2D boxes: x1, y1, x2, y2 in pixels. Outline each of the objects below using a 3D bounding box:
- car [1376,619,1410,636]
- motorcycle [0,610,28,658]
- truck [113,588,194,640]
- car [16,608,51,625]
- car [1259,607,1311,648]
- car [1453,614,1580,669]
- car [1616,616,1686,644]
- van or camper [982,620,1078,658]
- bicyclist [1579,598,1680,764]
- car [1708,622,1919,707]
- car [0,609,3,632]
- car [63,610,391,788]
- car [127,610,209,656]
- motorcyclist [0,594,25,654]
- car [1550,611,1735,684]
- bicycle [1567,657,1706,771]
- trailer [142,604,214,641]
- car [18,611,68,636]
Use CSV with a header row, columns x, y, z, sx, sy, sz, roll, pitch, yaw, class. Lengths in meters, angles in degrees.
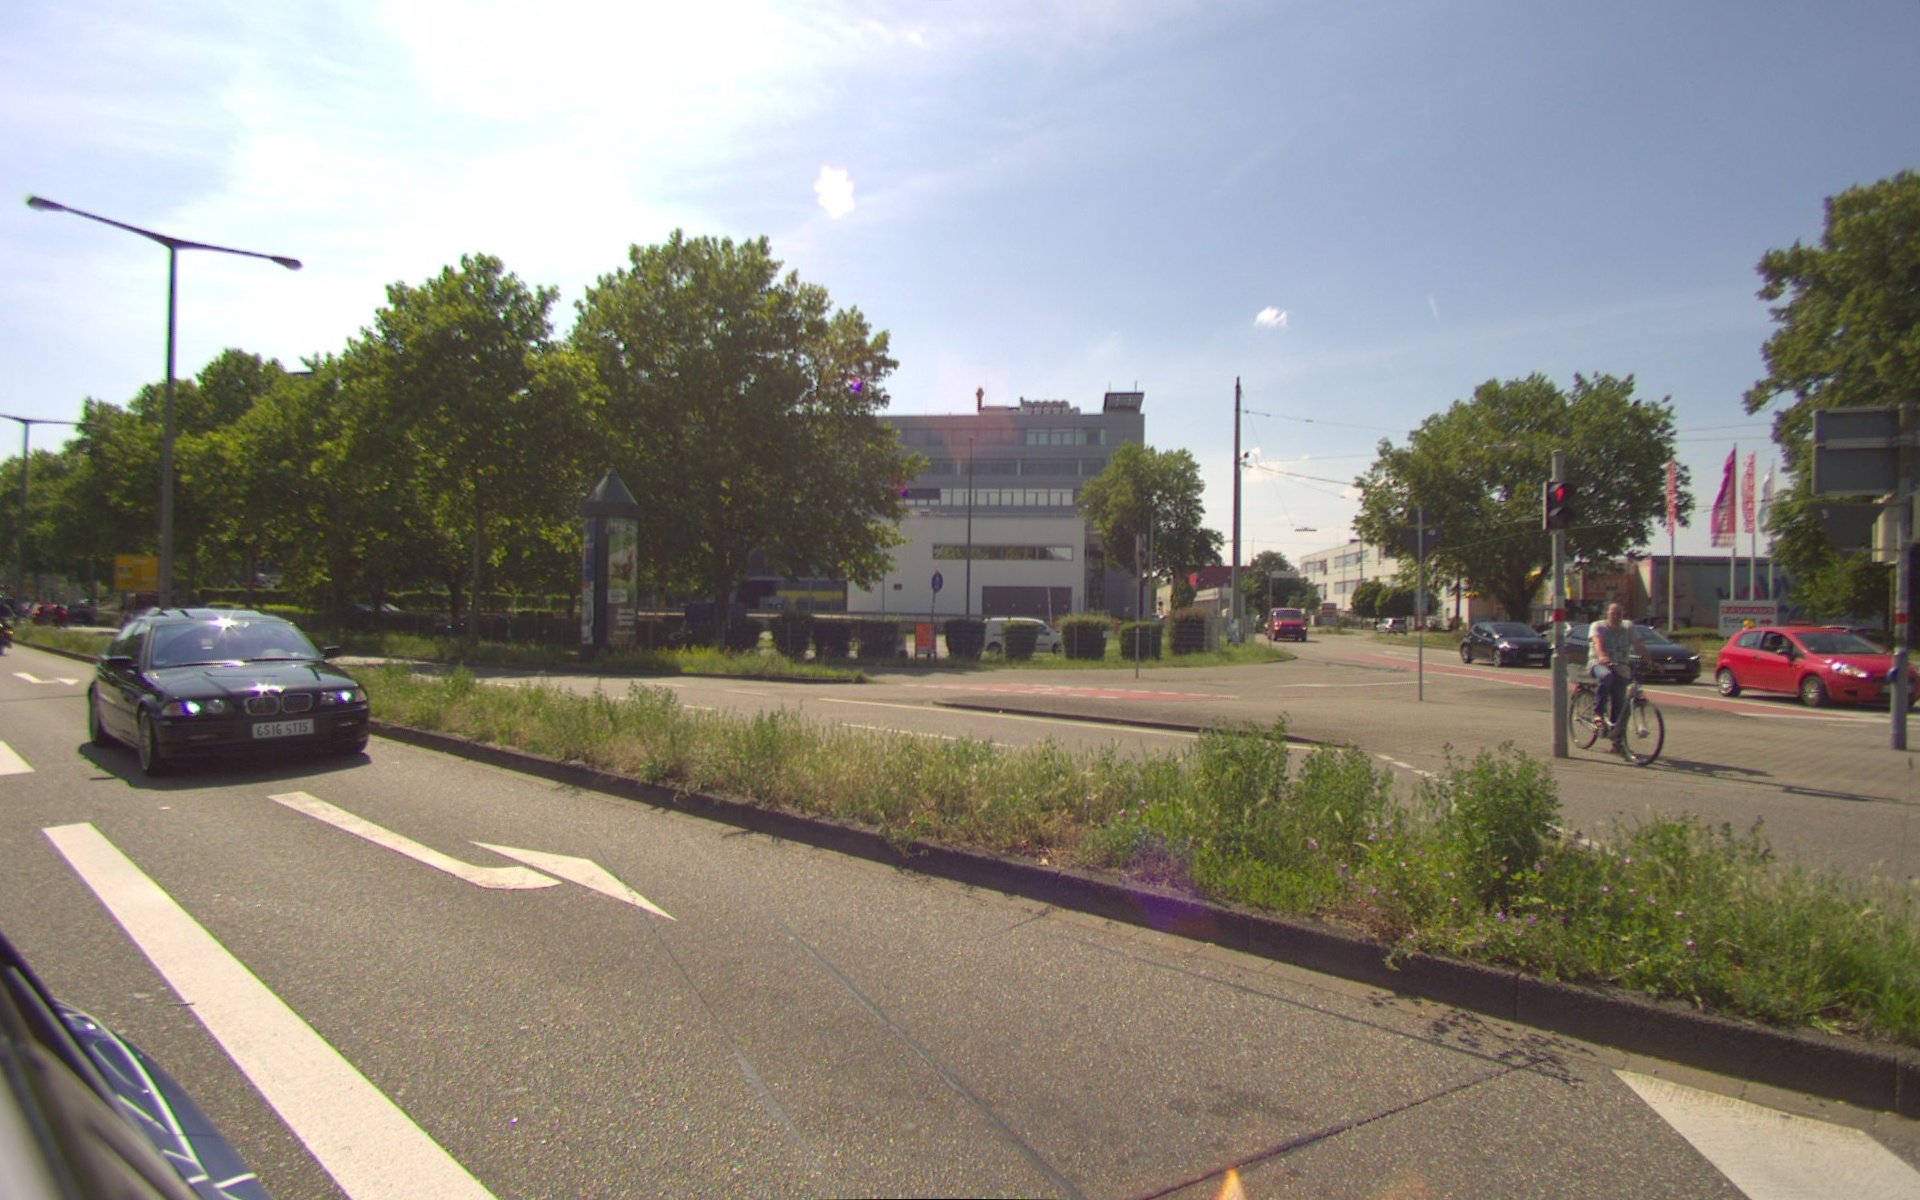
x,y,z,sx,sy,sz,roll,pitch,yaw,class
38.175,2.429,89.269,1.679,1.438,3.852,0,-1,7,car
-28.042,0.985,29.477,2.330,1.361,1.038,-1,-1,41,motorcycle
-41.790,0.720,52.368,7.127,2.494,2.116,-1,-1,42,truck
-84.607,1.537,92.381,4.219,1.433,1.820,-1,-3,41,car
19.107,1.623,59.660,2.128,2.295,5.027,0,-1,9,car
18.345,1.325,33.606,1.972,1.712,4.000,0,-1,0,car
51.846,2.236,76.046,3.975,2.029,1.984,0,-1,23,car
3.310,1.838,48.113,4.454,1.704,1.998,0,-1,4,van or camper
7.544,0.887,11.442,0.698,1.802,0.765,0,-1,12,bicyclist
16.607,1.155,19.380,1.824,1.460,3.993,0,-1,5,car
-88.885,1.845,92.286,3.999,2.029,1.972,-1,-1,42,car
-7.291,0.793,9.916,4.064,1.372,1.708,0,0,41,car
-27.988,1.140,35.726,3.734,1.525,1.632,-1,-1,42,car
-28.032,0.693,29.453,1.041,1.712,1.052,-1,-1,41,motorcyclist
17.412,1.164,26.082,1.971,1.712,4.001,0,-1,-1,car
7.531,1.217,11.384,0.520,1.072,2.157,0,-1,12,bicycle
-37.601,1.066,48.612,3.990,1.729,2.040,0,-1,42,trailer
-56.275,1.420,62.082,3.764,1.445,1.829,-1,-1,41,car
